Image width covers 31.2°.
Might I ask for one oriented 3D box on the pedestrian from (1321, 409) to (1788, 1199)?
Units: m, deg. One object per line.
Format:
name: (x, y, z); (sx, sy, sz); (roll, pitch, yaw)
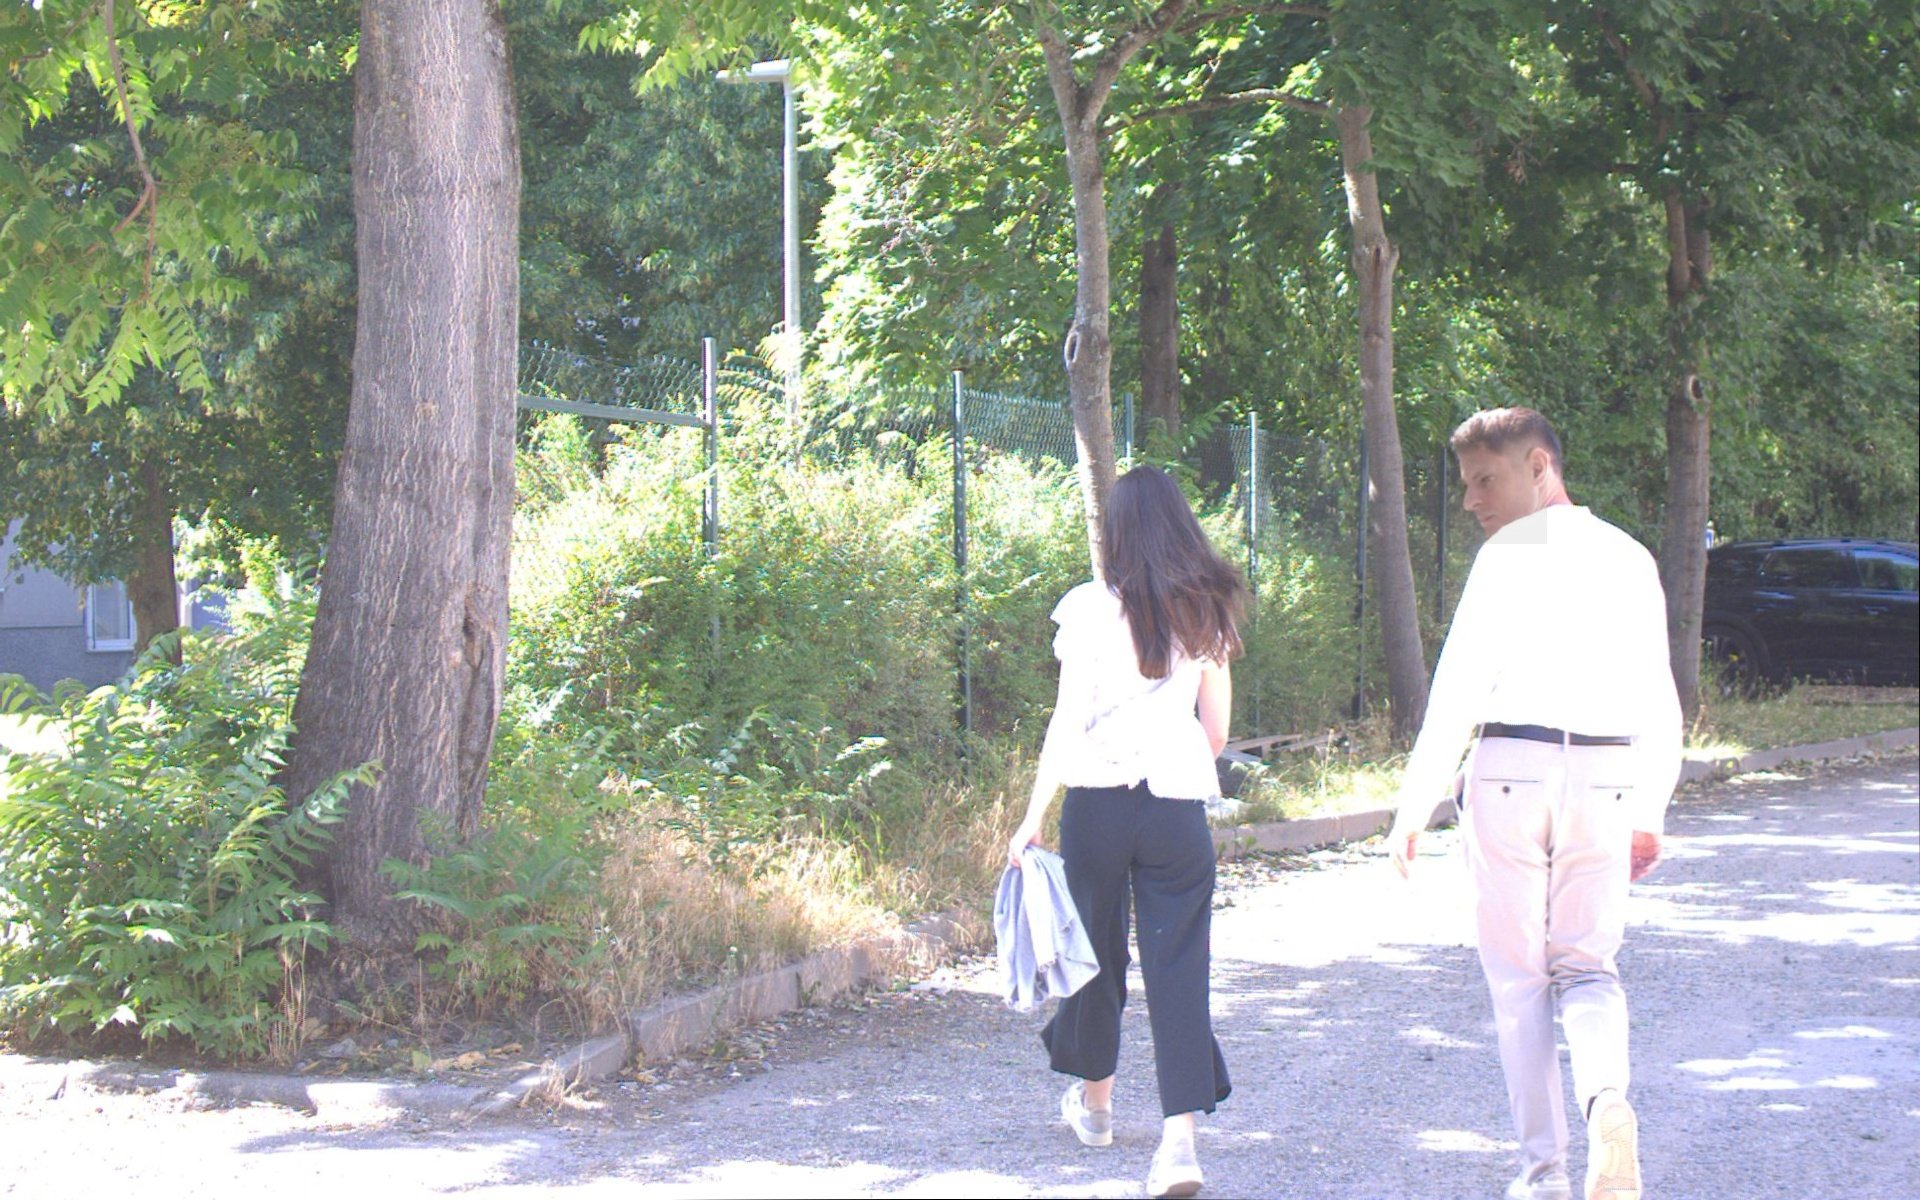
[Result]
pedestrian: (1.247, 0.469, 7.349); (0.755, 1.722, 0.854); (-1, 2, -7)

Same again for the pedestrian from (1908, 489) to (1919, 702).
pedestrian: (8.522, -0.046, 28.755); (1.015, 1.775, 0.819); (0, 1, 25)

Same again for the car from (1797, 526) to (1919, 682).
car: (11.284, 0.021, 35.825); (4.662, 1.579, 1.997); (0, 2, 25)

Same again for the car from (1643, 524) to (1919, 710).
car: (8.625, 0.125, 30.550); (4.662, 1.579, 1.997); (0, 2, 25)

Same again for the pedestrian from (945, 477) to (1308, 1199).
pedestrian: (0.371, 0.538, 8.028); (0.735, 1.634, 0.781); (-1, 2, -4)

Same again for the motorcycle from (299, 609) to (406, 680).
motorcycle: (-11.087, 0.799, 62.794); (0.629, 1.242, 2.058); (0, 1, 35)
